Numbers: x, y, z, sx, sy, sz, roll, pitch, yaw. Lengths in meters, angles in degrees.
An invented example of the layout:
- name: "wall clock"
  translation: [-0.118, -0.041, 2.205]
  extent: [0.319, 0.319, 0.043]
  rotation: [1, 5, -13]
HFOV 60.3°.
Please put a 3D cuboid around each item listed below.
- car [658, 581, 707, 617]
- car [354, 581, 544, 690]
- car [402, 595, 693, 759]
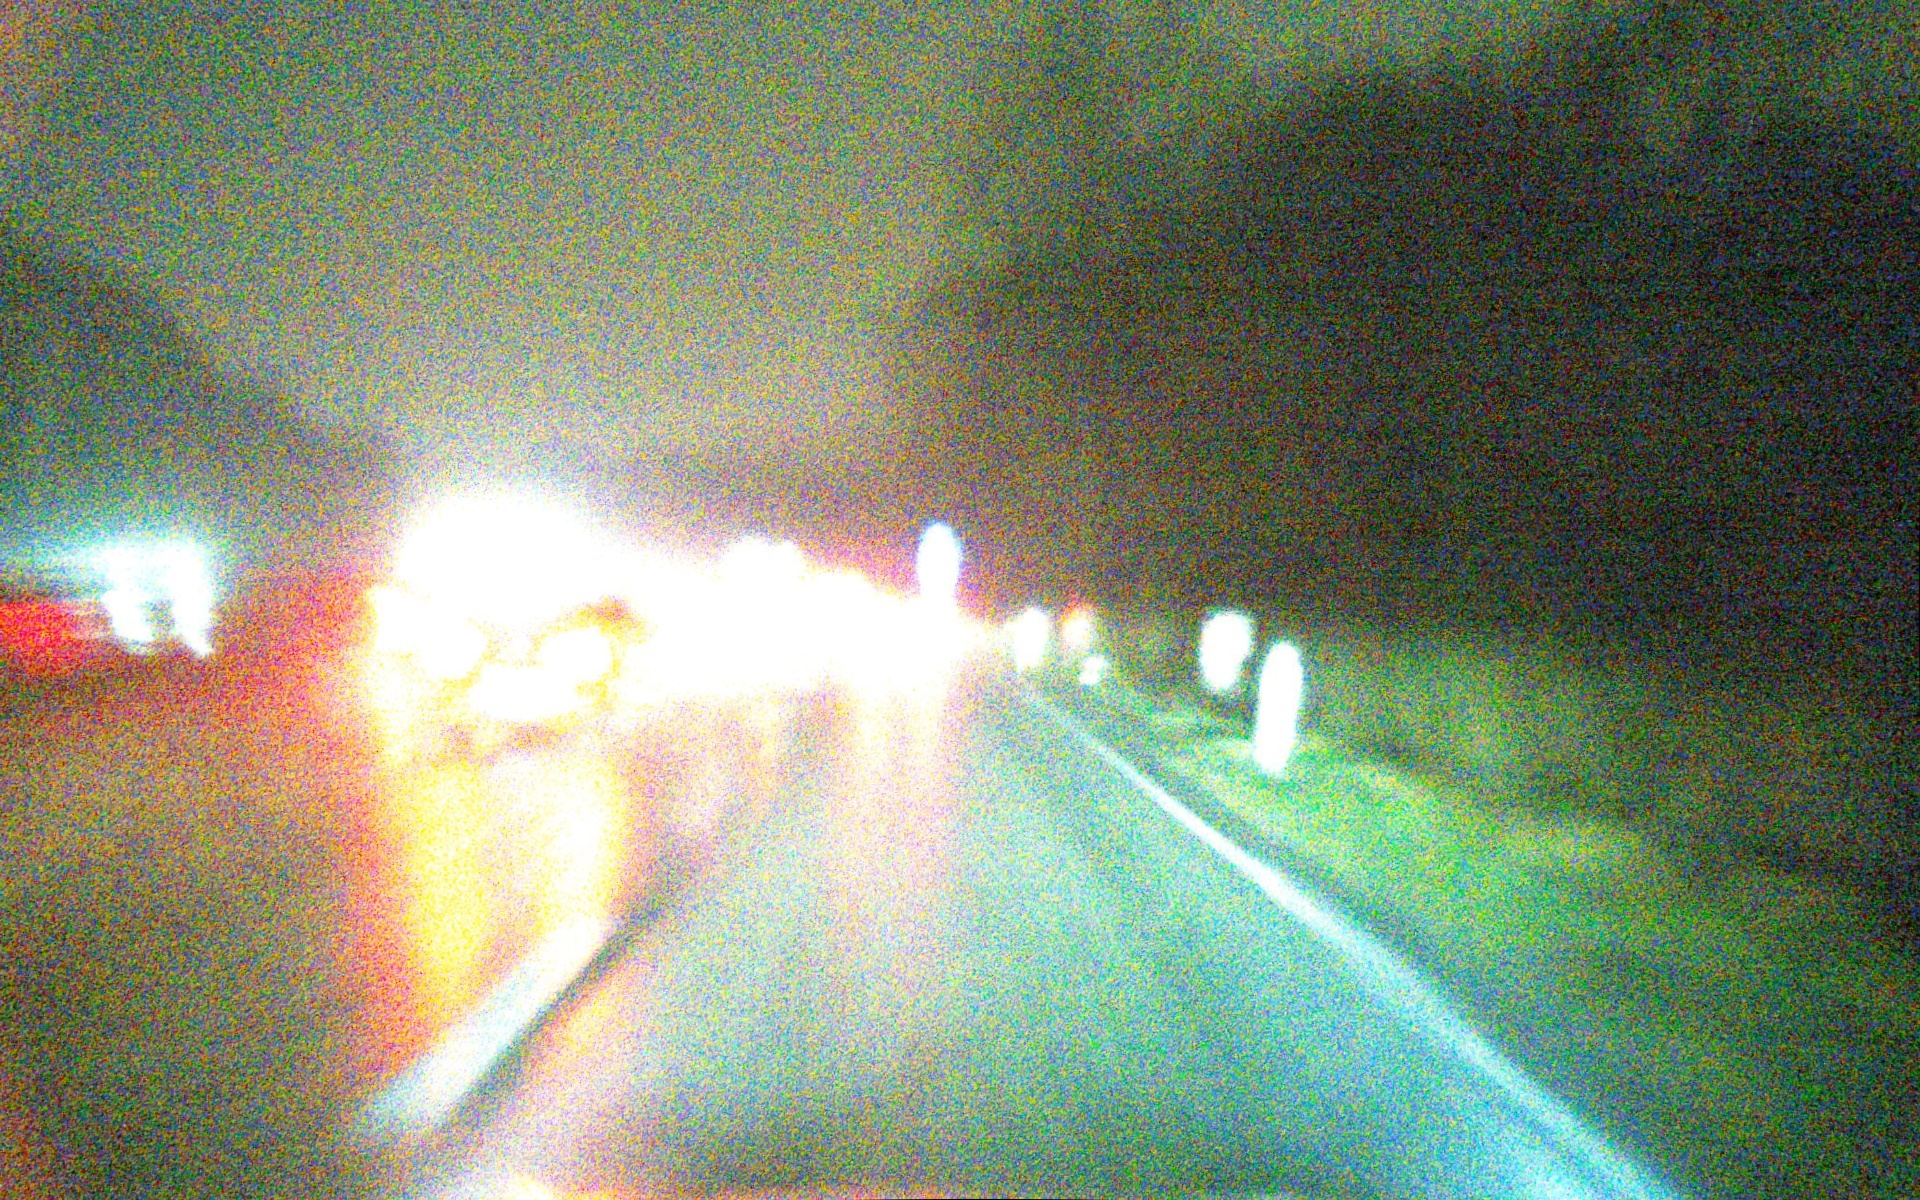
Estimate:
- name: "car"
  translation: [-12.901, -0.021, 76.981]
  extent: [1.855, 1.577, 3.996]
  rotation: [1, 0, -5]
- name: "car"
  translation: [-8.051, 0.511, 26.543]
  extent: [1.732, 1.543, 4.911]
  rotation: [1, 0, -3]
- name: "car"
  translation: [-4.025, 0.708, 16.859]
  extent: [1.922, 1.405, 4.048]
  rotation: [2, -1, -1]
